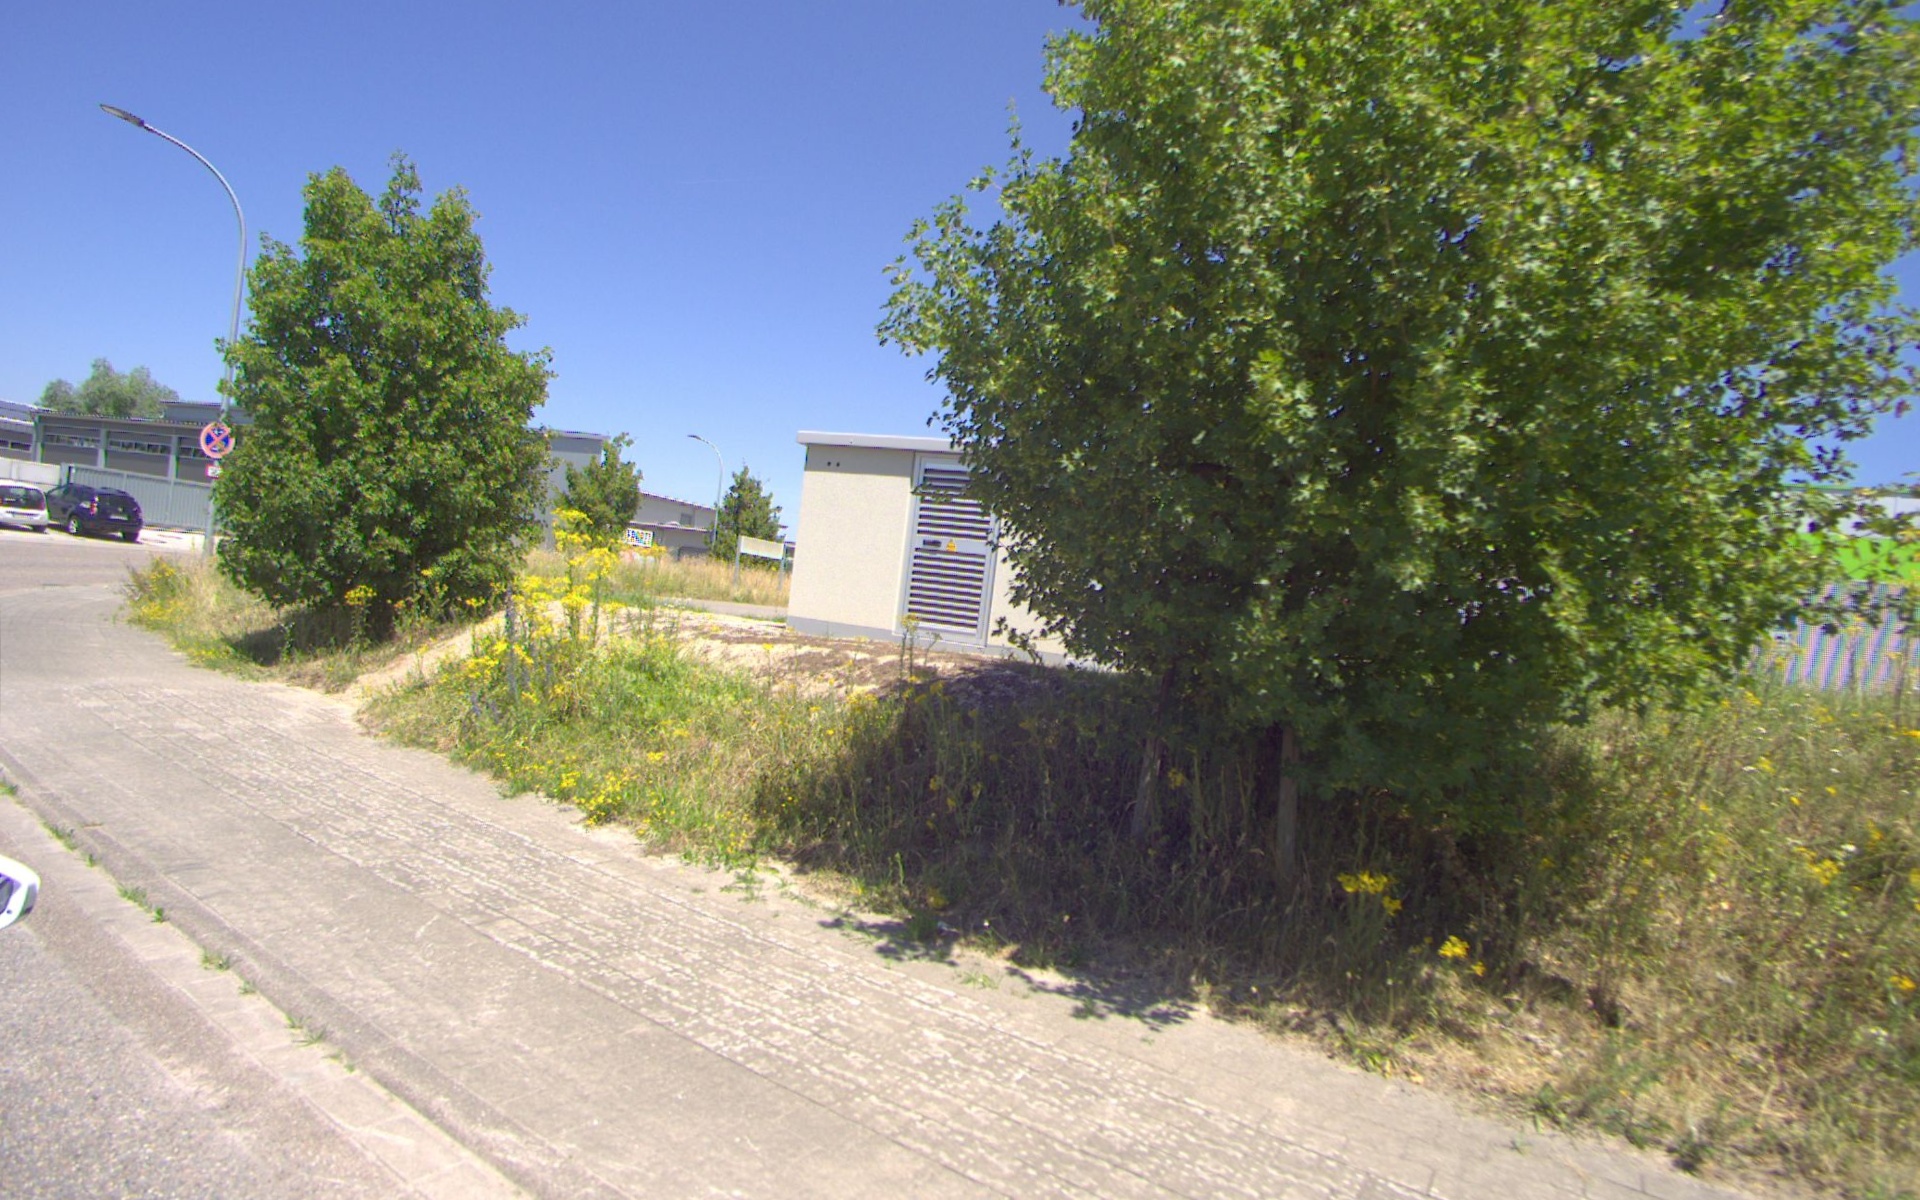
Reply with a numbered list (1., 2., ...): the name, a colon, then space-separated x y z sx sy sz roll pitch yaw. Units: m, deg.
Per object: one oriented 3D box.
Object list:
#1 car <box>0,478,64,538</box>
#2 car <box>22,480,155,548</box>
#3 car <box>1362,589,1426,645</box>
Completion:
1. car: -30.948 -3.074 32.211 3.634 1.517 1.788 10 2 20
2. car: -29.811 -2.942 34.419 3.634 1.629 1.799 10 2 20
3. car: 16.835 0.715 39.171 1.963 1.871 3.999 6 0 21
